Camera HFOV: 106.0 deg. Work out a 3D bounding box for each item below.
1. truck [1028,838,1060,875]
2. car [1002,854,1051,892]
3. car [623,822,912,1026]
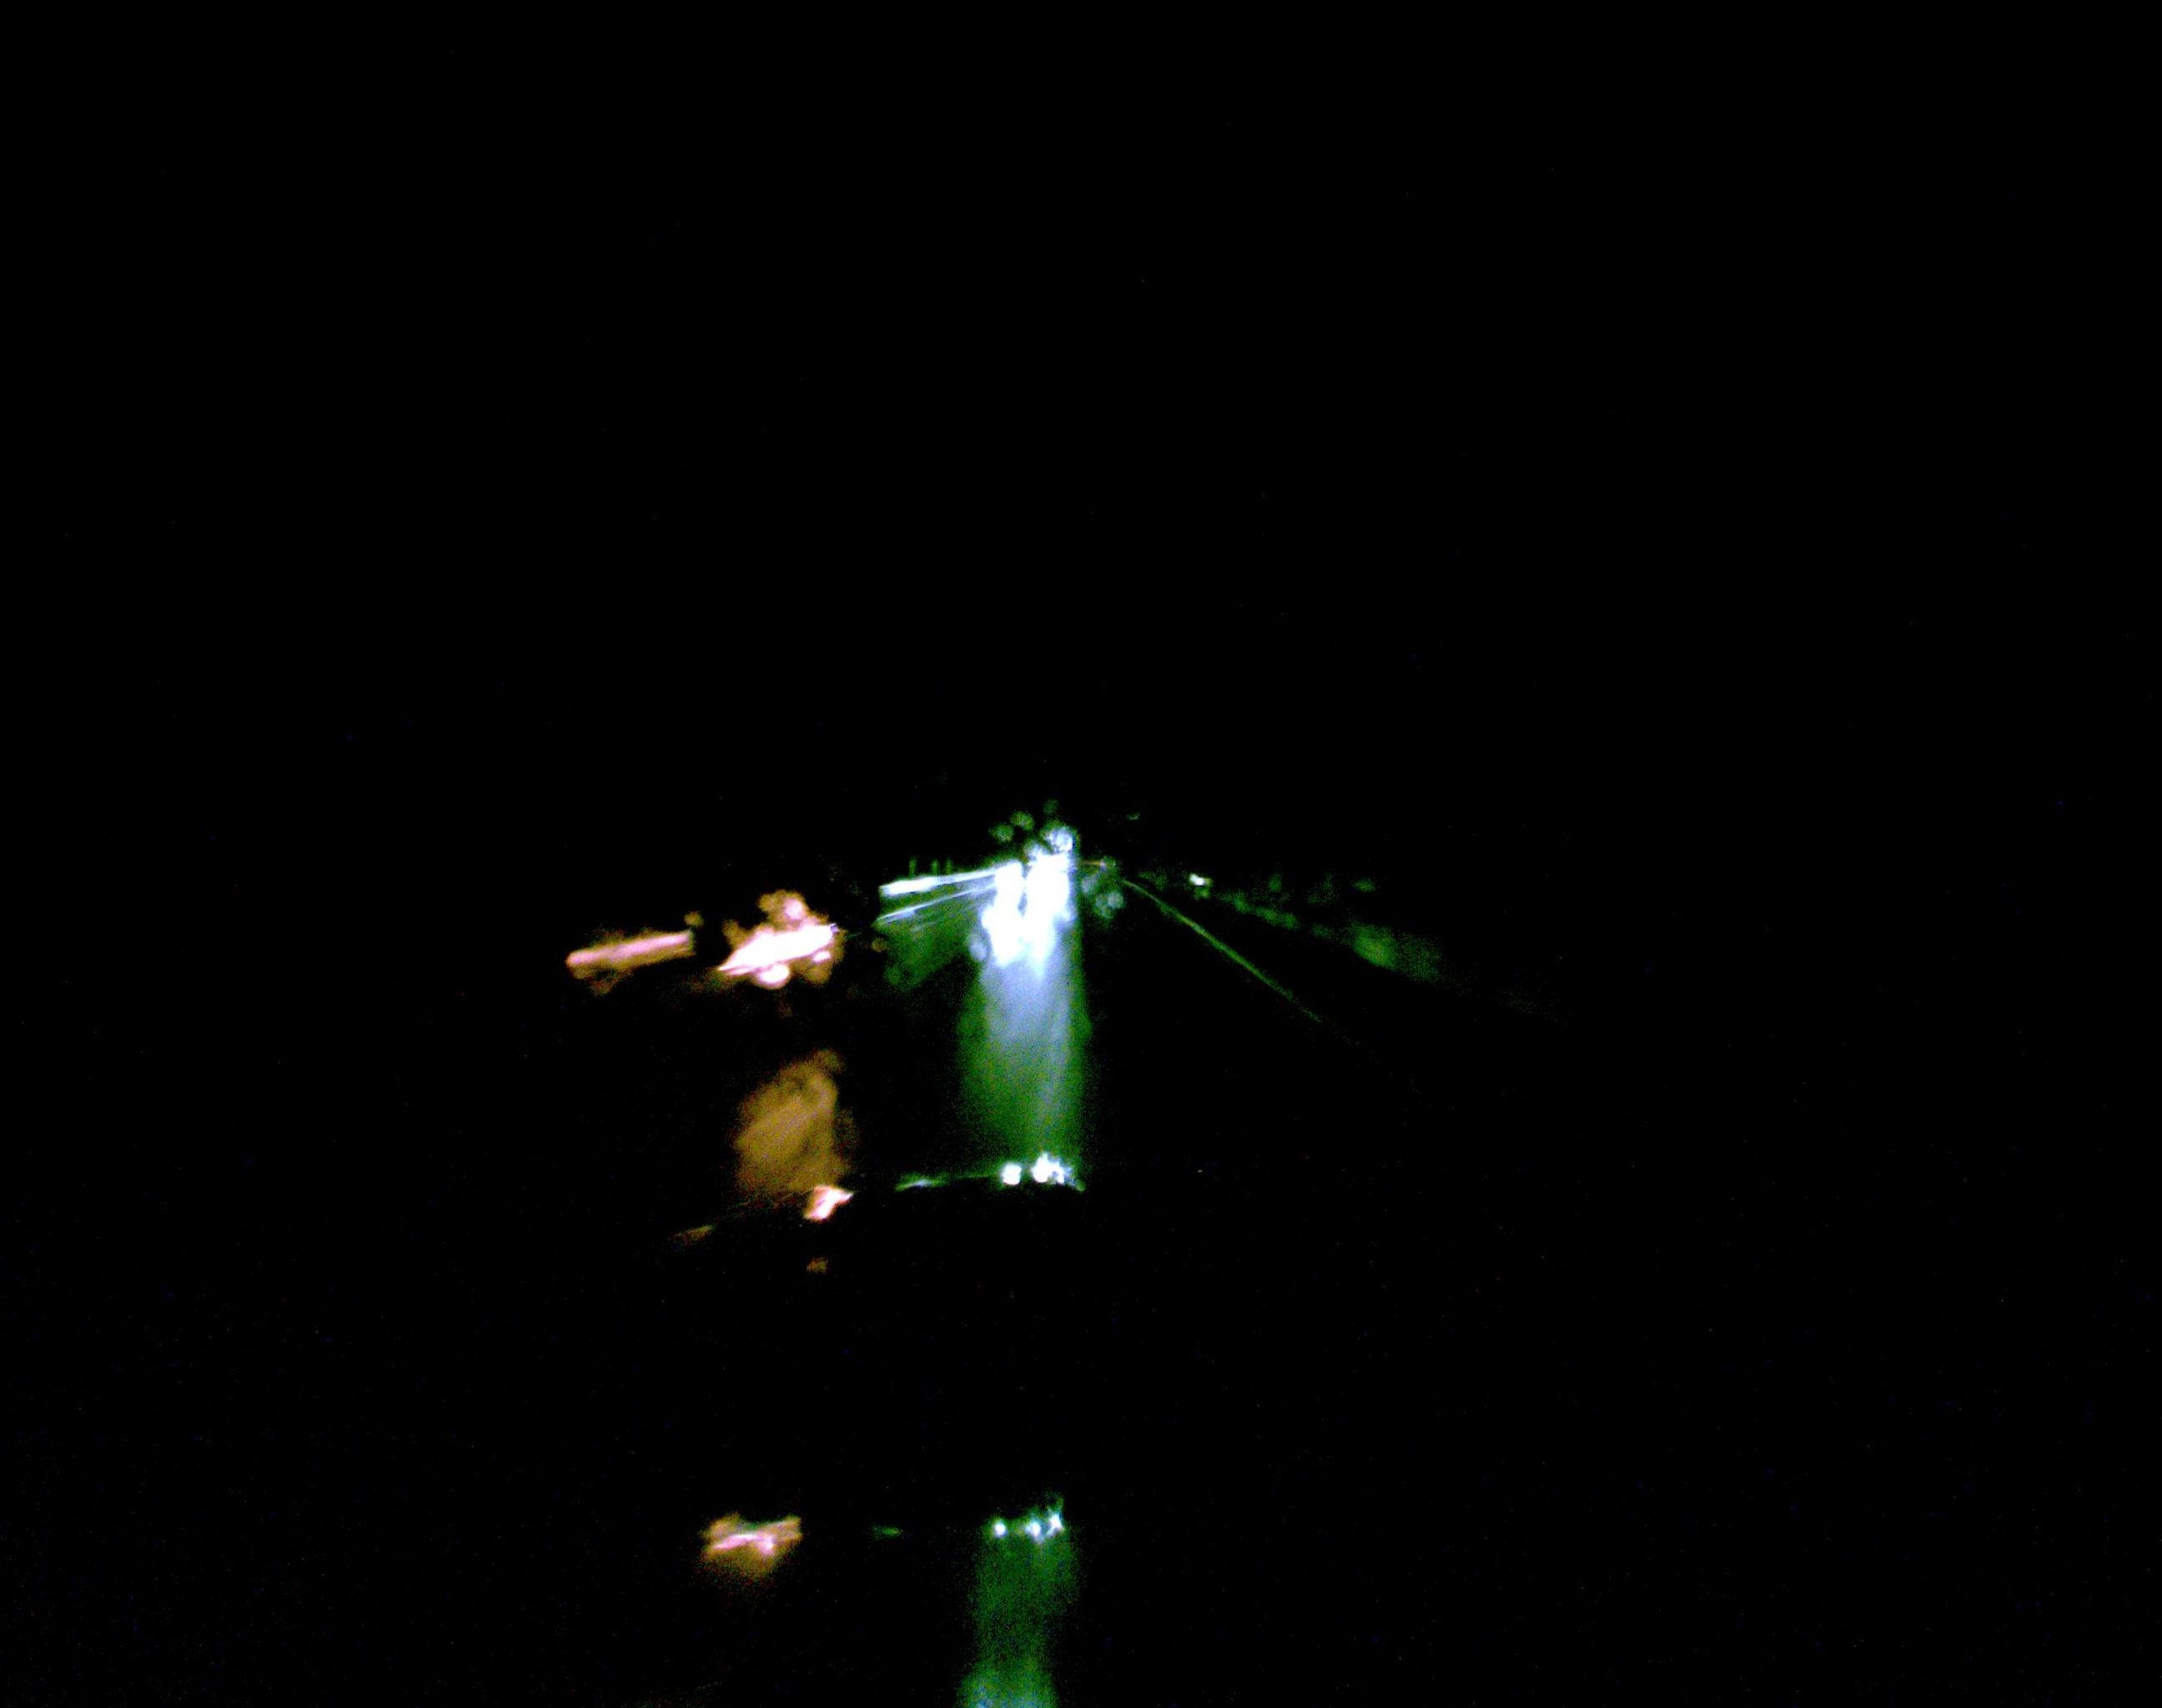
[{"bbox_3d":[-2.625,0.192,59.060,2.131,2.535,5.276,-1,0,-1],"label":"truck"},{"bbox_3d":[-2.387,0.809,36.570,1.879,1.576,4.050,-1,0,1],"label":"car"},{"bbox_3d":[-3.226,0.628,9.284,1.736,1.823,3.878,-1,0,1],"label":"car"}]
